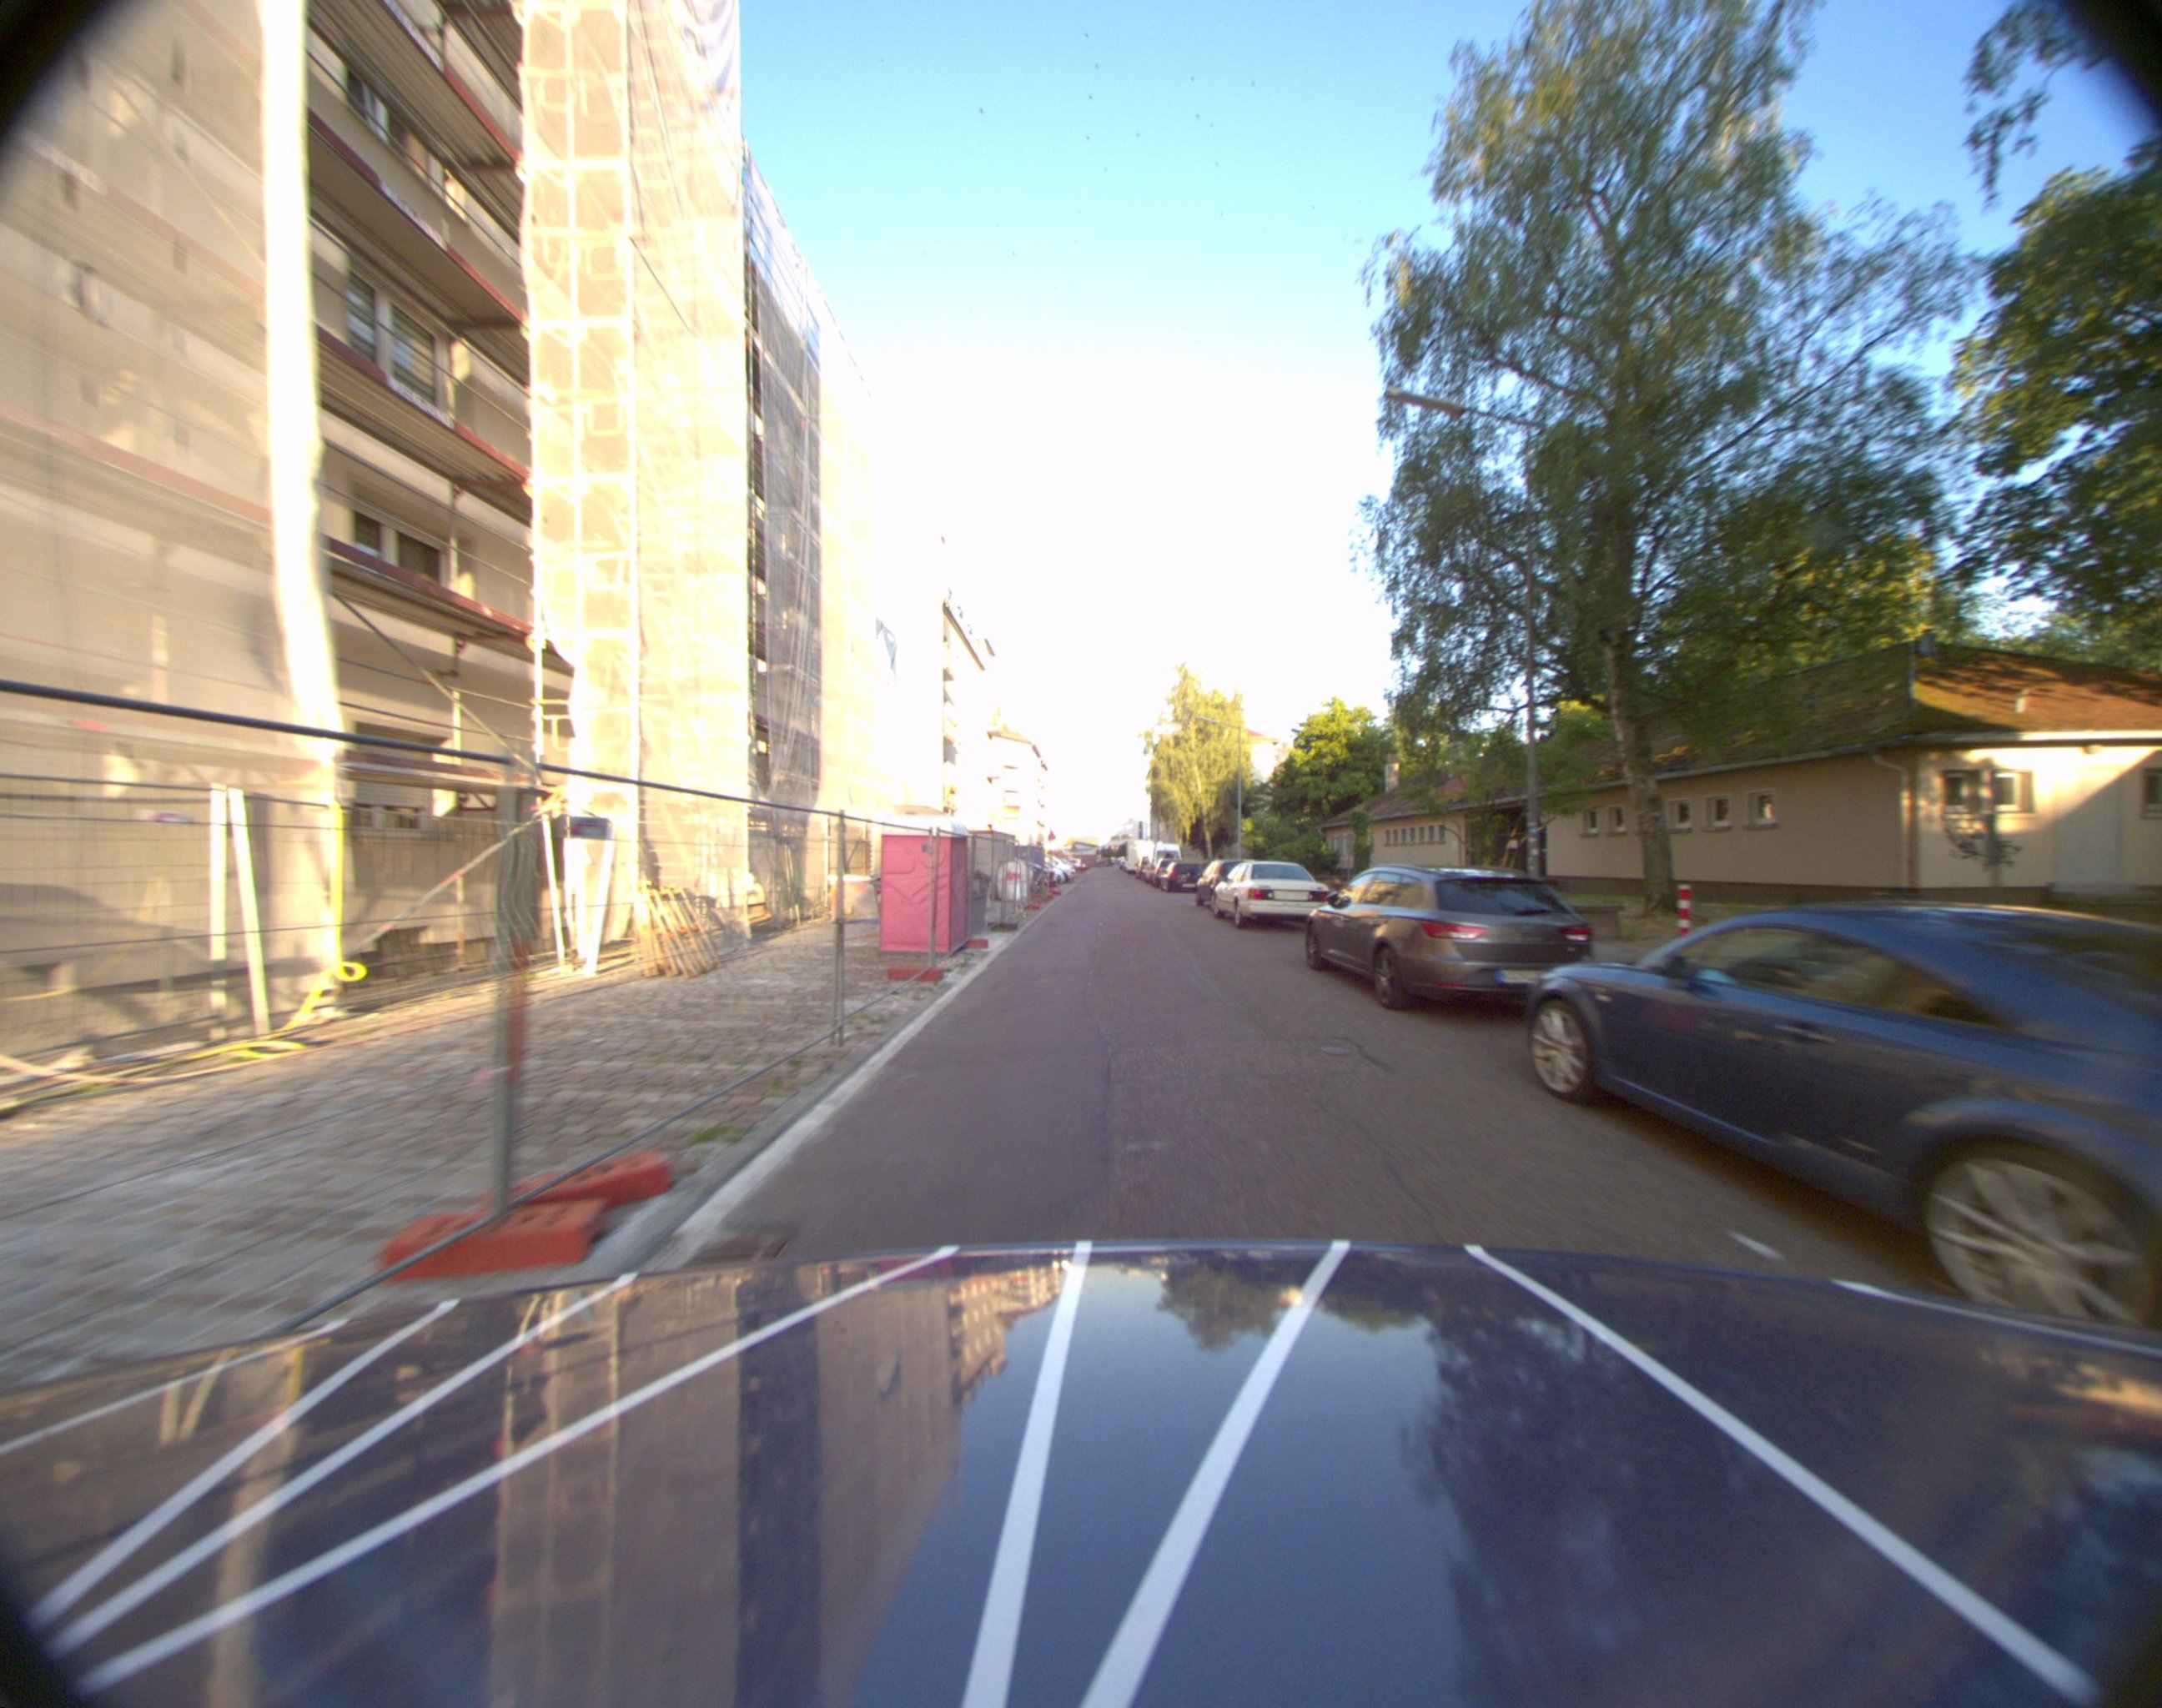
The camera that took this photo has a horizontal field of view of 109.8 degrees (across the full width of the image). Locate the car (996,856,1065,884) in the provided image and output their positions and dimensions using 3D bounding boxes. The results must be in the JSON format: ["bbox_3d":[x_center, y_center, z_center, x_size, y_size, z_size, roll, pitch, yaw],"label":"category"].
[{"bbox_3d":[-2.953,0.933,45.034,3.997,1.628,1.903,0,0,-1],"label":"car"}]

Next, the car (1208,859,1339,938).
[{"bbox_3d":[4.129,0.881,17.115,1.786,1.437,4.748,2,0,1],"label":"car"}]

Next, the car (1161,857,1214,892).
[{"bbox_3d":[4.823,0.896,35.073,1.998,1.444,4.289,-1,0,2],"label":"car"}]

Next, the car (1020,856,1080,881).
[{"bbox_3d":[-2.101,0.987,52.278,3.997,1.630,2.000,0,1,0],"label":"car"}]

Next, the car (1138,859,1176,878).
[{"bbox_3d":[5.204,0.979,52.620,1.999,1.182,4.035,-1,0,-3],"label":"car"}]

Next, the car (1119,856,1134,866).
[{"bbox_3d":[7.105,1.044,119.004,1.998,1.481,4.432,-1,0,0],"label":"car"}]

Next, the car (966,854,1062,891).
[{"bbox_3d":[-3.028,0.838,35.035,4.163,1.606,1.872,0,0,3],"label":"car"}]

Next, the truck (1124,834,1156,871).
[{"bbox_3d":[5.690,-0.136,74.867,2.532,3.334,8.017,2,0,1],"label":"truck"}]

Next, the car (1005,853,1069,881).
[{"bbox_3d":[-2.843,0.818,49.658,3.997,1.718,1.999,0,1,0],"label":"car"}]

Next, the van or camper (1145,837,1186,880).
[{"bbox_3d":[5.136,0.268,46.977,1.998,2.442,6.083,-1,0,1],"label":"van or camper"}]

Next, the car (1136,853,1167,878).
[{"bbox_3d":[5.321,0.841,57.595,1.915,1.777,4.949,1,0,1],"label":"car"}]

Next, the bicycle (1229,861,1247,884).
[{"bbox_3d":[8.181,0.944,39.721,0.544,1.111,1.955,-2,0,0],"label":"bicycle"}]

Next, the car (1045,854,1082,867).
[{"bbox_3d":[-2.041,0.804,90.593,4.310,1.532,1.924,-1,0,3],"label":"car"}]

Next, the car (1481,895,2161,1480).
[{"bbox_3d":[3.684,0.966,3.449,1.663,1.306,4.155,1,0,2],"label":"car"}]

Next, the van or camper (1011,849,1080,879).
[{"bbox_3d":[-2.543,0.742,55.021,4.846,2.084,2.041,-1,0,1],"label":"van or camper"}]

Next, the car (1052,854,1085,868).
[{"bbox_3d":[-1.558,0.857,93.168,3.997,1.652,2.000,-1,0,0],"label":"car"}]

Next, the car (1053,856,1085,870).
[{"bbox_3d":[-1.476,1.126,95.609,3.997,1.619,1.784,-1,0,-1],"label":"car"}]

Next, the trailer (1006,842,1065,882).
[{"bbox_3d":[-2.804,0.498,47.612,3.576,2.323,1.940,2,0,-1],"label":"trailer"}]

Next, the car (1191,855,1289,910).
[{"bbox_3d":[4.589,0.765,22.566,1.999,1.444,3.999,-1,0,-1],"label":"car"}]

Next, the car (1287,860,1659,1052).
[{"bbox_3d":[3.890,0.860,8.686,1.864,1.529,4.759,1,0,1],"label":"car"}]

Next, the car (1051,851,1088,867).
[{"bbox_3d":[-1.417,0.654,98.514,4.684,1.988,2.000,-1,0,2],"label":"car"}]

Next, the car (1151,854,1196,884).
[{"bbox_3d":[4.940,0.767,41.040,1.998,1.510,4.789,-1,0,2],"label":"car"}]
